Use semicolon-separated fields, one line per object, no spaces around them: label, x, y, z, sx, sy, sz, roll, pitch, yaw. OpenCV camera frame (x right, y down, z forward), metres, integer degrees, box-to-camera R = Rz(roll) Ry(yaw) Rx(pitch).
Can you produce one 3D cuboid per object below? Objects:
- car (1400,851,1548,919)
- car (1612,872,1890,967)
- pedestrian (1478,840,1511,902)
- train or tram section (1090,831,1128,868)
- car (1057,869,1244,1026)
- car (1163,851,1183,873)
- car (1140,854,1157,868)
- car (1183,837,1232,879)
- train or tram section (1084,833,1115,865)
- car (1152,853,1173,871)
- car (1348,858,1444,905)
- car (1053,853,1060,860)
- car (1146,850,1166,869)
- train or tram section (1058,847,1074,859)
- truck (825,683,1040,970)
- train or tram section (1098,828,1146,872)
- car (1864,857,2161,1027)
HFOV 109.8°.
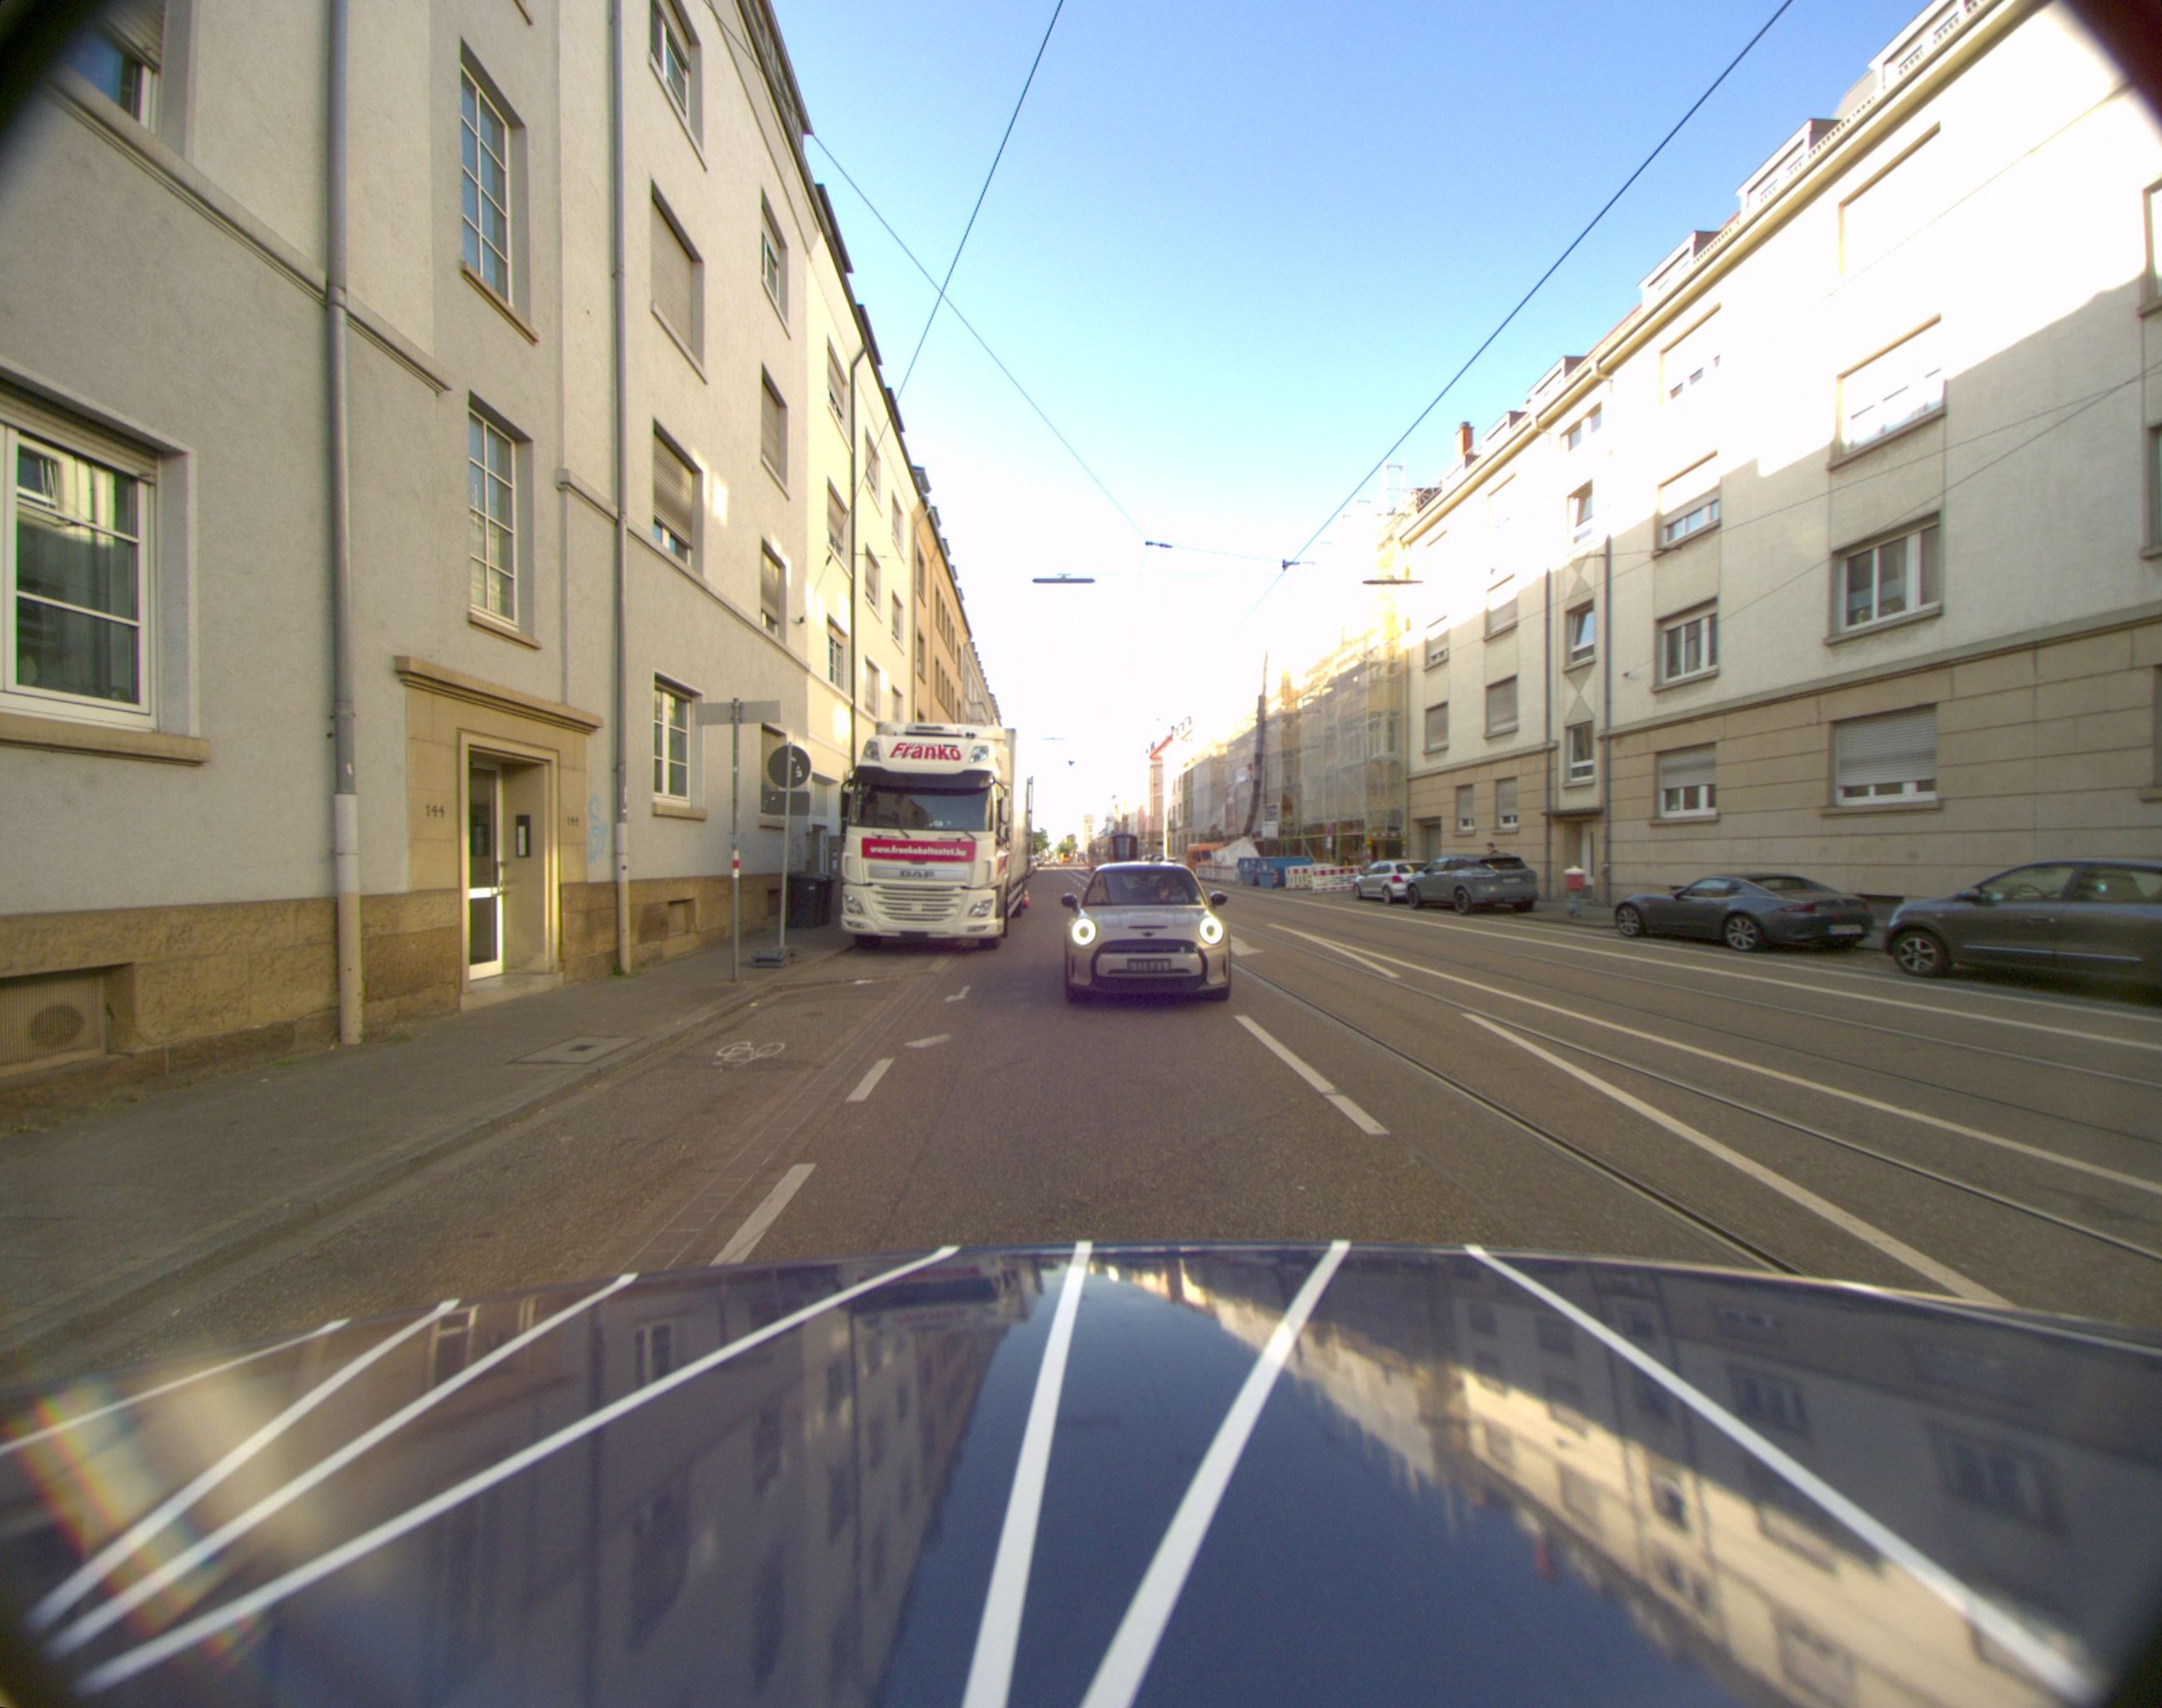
car;10.810;0.774;21.277;1.752;1.600;4.157;-3;1;-4
car;11.122;1.002;12.968;1.476;1.212;3.522;-3;1;-4
pedestrian;12.819;0.513;23.574;0.519;1.861;0.762;-2;1;-2
train or tram section;2.805;-0.511;80.224;2.867;3.542;13.330;0;1;-3
car;0.641;0.905;8.990;1.727;1.416;3.817;0;-1;0
car;8.585;0.681;71.025;1.658;1.911;3.766;-2;1;5
car;7.866;0.814;88.530;1.532;1.518;3.599;-2;1;-1
car;8.802;0.247;53.361;2.215;2.681;5.871;-2;1;-2
train or tram section;2.157;-0.638;93.557;2.867;3.542;13.330;0;1;-3
car;8.212;0.766;77.013;1.570;1.674;3.935;-2;1;-1
car;10.601;0.884;25.826;1.565;1.372;3.506;-3;1;-4
car;-7.223;0.619;221.617;1.999;1.871;4.269;-2;1;-4
car;8.185;0.555;83.207;1.570;1.945;4.183;-2;1;-1
train or tram section;-4.963;-0.437;251.484;3.881;3.616;14.401;-2;1;-7
truck;-2.499;-0.506;17.090;2.700;4.214;11.773;0;1;-1
train or tram section;3.435;-0.387;67.047;2.867;3.542;13.038;0;1;-3
car;11.359;0.876;8.372;1.644;1.549;3.594;-3;1;-2
